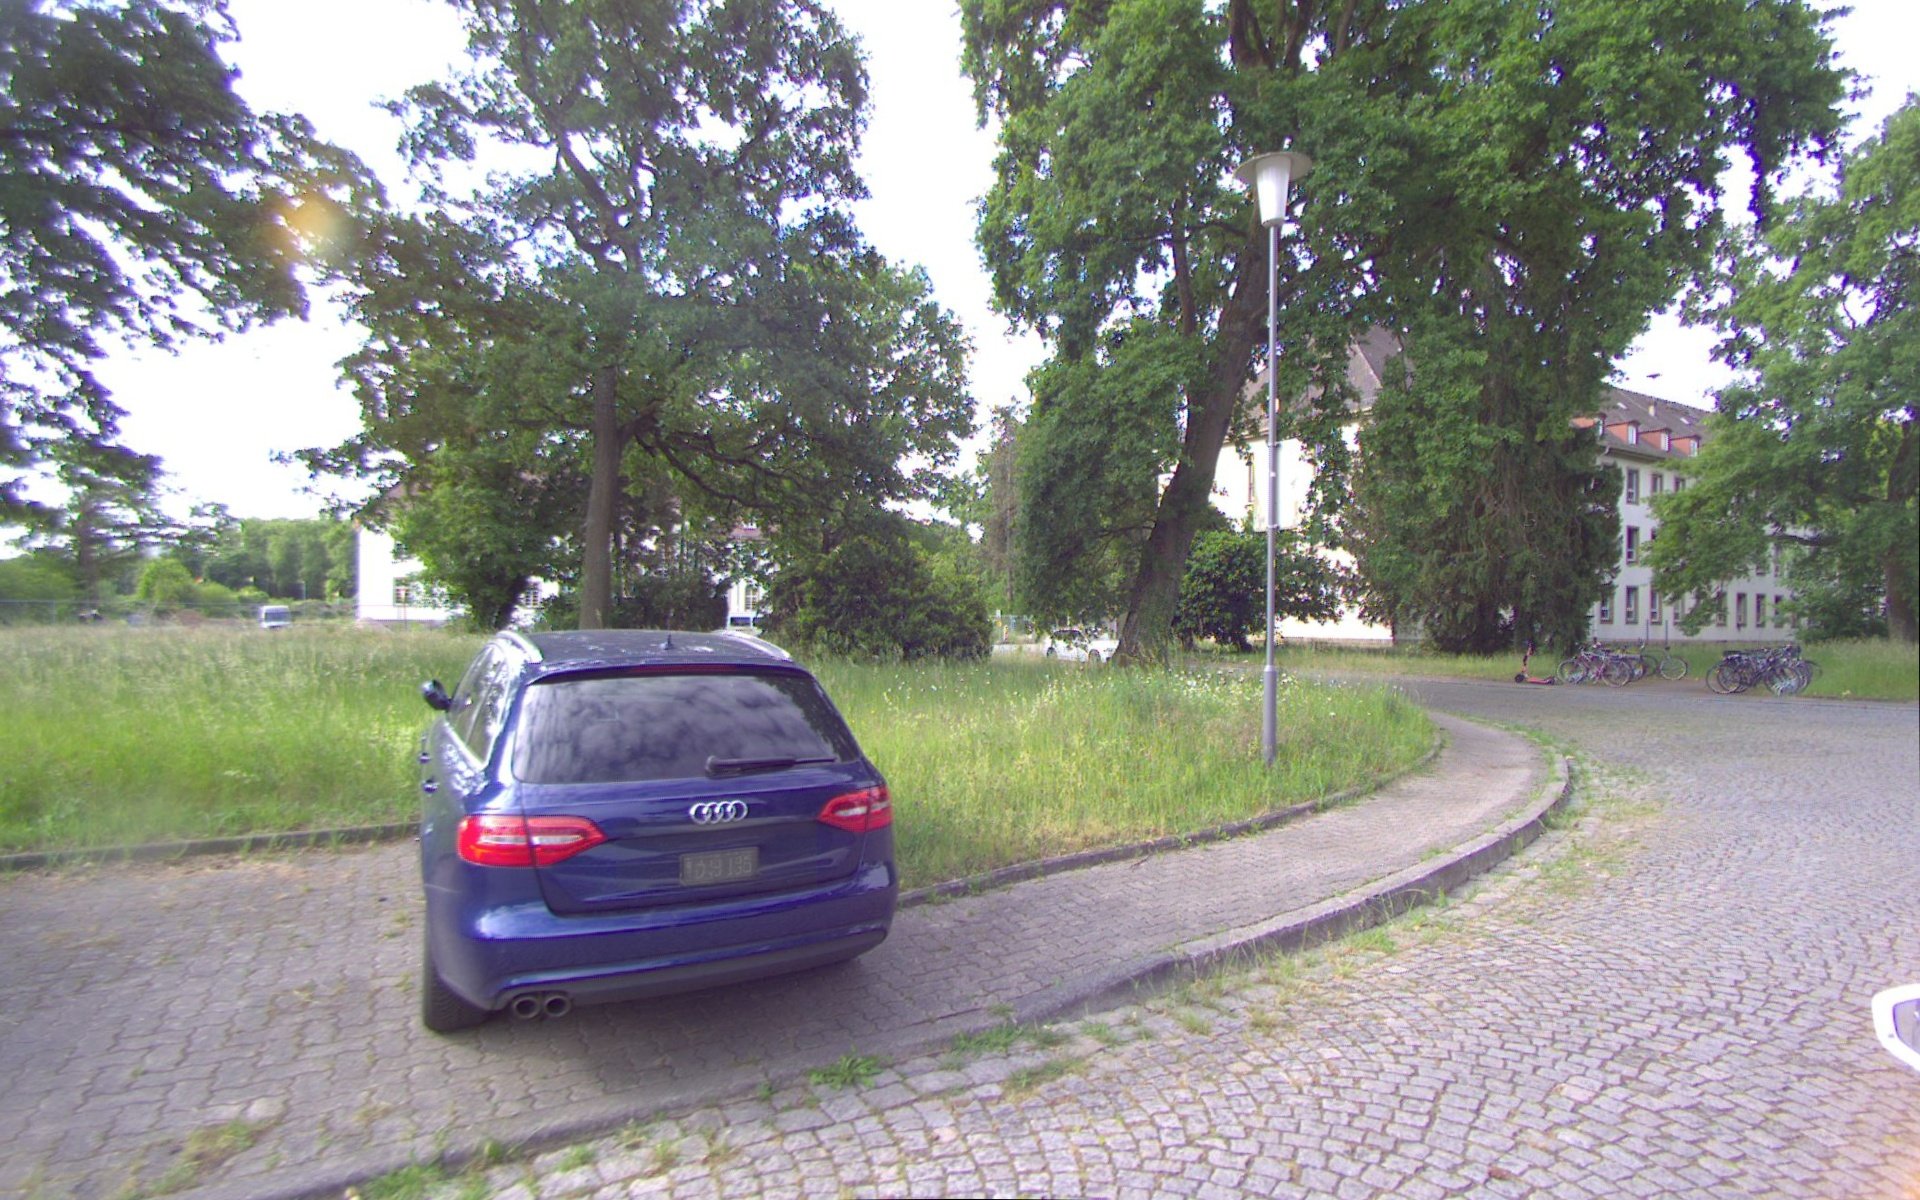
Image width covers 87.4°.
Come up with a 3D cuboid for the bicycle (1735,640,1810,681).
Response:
[{"bbox_3d":[23.699,1.742,29.306,1.677,1.131,0.539,-2,0,41],"label":"bicycle"}]

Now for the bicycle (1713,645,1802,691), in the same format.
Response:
[{"bbox_3d":[20.462,1.728,25.780,1.747,1.118,0.699,-2,0,41],"label":"bicycle"}]

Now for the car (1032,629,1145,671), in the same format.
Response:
[{"bbox_3d":[4.883,1.866,38.700,1.834,1.456,4.666,1,-1,-31],"label":"car"}]

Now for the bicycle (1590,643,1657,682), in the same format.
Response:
[{"bbox_3d":[19.476,1.826,29.506,1.600,1.088,0.538,0,1,30],"label":"bicycle"}]

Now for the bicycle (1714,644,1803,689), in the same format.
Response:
[{"bbox_3d":[20.925,1.729,26.344,1.773,1.118,0.699,-2,0,41],"label":"bicycle"}]

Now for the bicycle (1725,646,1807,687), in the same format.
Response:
[{"bbox_3d":[21.494,1.763,26.811,1.671,1.015,0.629,-2,0,41],"label":"bicycle"}]

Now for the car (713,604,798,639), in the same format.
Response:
[{"bbox_3d":[-14.533,1.541,71.447,5.469,2.237,2.108,3,1,-31],"label":"car"}]

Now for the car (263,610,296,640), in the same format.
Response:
[{"bbox_3d":[-53.013,1.920,78.330,2.017,2.040,4.190,2,1,-33],"label":"car"}]

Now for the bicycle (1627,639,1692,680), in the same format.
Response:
[{"bbox_3d":[21.438,1.810,30.813,1.616,1.201,0.572,0,1,34],"label":"bicycle"}]

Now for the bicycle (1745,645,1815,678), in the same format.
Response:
[{"bbox_3d":[24.511,1.828,30.052,1.597,0.923,0.524,-2,0,41],"label":"bicycle"}]

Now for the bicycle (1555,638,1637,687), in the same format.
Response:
[{"bbox_3d":[17.736,1.717,28.045,1.873,1.239,0.640,0,1,41],"label":"bicycle"}]

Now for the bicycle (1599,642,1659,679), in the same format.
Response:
[{"bbox_3d":[20.427,1.837,30.712,1.489,1.049,0.544,0,1,30],"label":"bicycle"}]

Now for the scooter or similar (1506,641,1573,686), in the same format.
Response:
[{"bbox_3d":[16.499,1.792,28.643,0.673,1.211,1.542,0,-1,-27],"label":"scooter or similar"}]

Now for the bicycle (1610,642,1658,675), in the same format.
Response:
[{"bbox_3d":[21.888,1.900,32.605,1.244,1.042,0.432,-2,-5,41],"label":"bicycle"}]

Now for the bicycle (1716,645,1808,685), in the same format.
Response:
[{"bbox_3d":[21.941,1.755,27.506,1.931,1.018,0.683,-2,0,41],"label":"bicycle"}]

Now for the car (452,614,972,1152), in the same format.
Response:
[{"bbox_3d":[-1.702,0.858,5.249,1.661,1.499,4.414,1,-1,-27],"label":"car"}]

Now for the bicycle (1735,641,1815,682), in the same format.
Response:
[{"bbox_3d":[23.383,1.755,28.851,1.750,1.120,0.539,-2,0,41],"label":"bicycle"}]

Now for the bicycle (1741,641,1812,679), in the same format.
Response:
[{"bbox_3d":[24.113,1.766,29.691,1.597,1.073,0.524,-2,0,41],"label":"bicycle"}]

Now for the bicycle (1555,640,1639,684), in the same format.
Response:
[{"bbox_3d":[18.106,1.737,28.593,1.962,1.129,0.640,0,1,41],"label":"bicycle"}]
